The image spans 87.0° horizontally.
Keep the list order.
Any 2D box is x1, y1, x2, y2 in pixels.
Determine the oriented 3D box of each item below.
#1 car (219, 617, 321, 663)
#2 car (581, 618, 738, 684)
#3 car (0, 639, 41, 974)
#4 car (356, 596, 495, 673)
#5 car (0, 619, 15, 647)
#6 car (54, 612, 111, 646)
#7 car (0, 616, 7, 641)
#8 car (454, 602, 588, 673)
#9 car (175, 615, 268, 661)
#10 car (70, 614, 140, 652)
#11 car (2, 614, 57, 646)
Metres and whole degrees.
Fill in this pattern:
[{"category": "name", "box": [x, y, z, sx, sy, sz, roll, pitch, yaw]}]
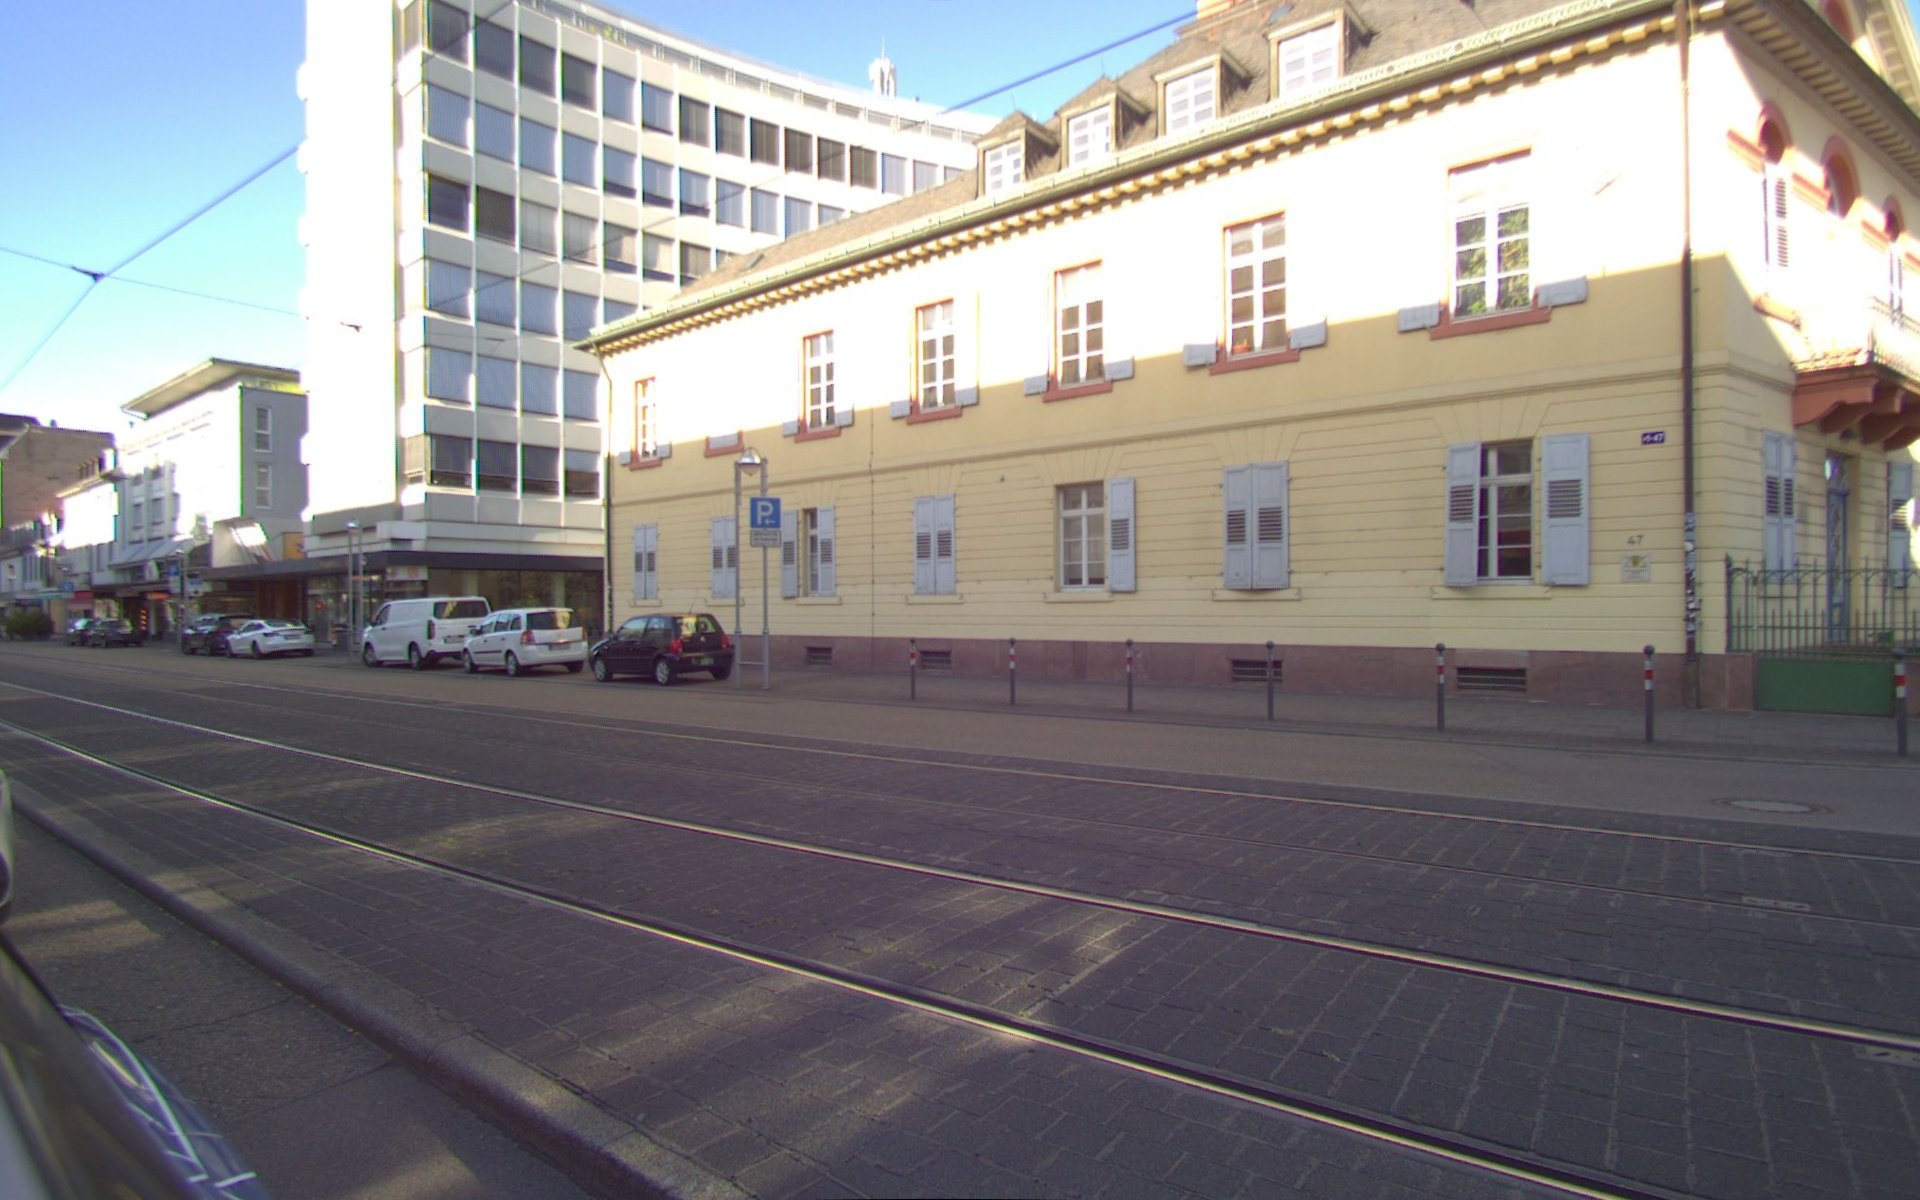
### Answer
[{"category": "car", "box": [-25.658, 1.443, 37.588, 4.369, 1.541, 1.974, -1, 0, 39]}, {"category": "car", "box": [-6.394, 1.025, 21.432, 3.210, 1.263, 1.667, -1, 0, 39]}, {"category": "car", "box": [-6.104, 0.900, 4.777, 3.992, 1.393, 1.862, -1, 0, 36]}, {"category": "car", "box": [-15.355, 0.968, 28.949, 4.619, 2.029, 2.014, -1, -1, 41]}, {"category": "car", "box": [-71.179, 2.422, 74.498, 3.998, 2.029, 1.973, -1, -1, 41]}, {"category": "car", "box": [-50.135, 1.633, 57.790, 3.994, 1.896, 1.768, -1, -1, 38]}, {"category": "car", "box": [-78.879, 2.333, 81.916, 3.995, 2.029, 1.974, -1, 0, 38]}, {"category": "car", "box": [-11.057, 0.890, 25.365, 4.005, 1.621, 1.619, -1, 0, 43]}, {"category": "car", "box": [-29.882, 1.489, 40.910, 4.103, 1.717, 1.975, -1, 0, 38]}, {"category": "car", "box": [-43.975, 1.652, 52.015, 3.995, 1.874, 1.974, -1, 0, 38]}, {"category": "car", "box": [-62.790, 2.014, 68.247, 3.996, 2.058, 2.172, -1, -1, 39]}]
